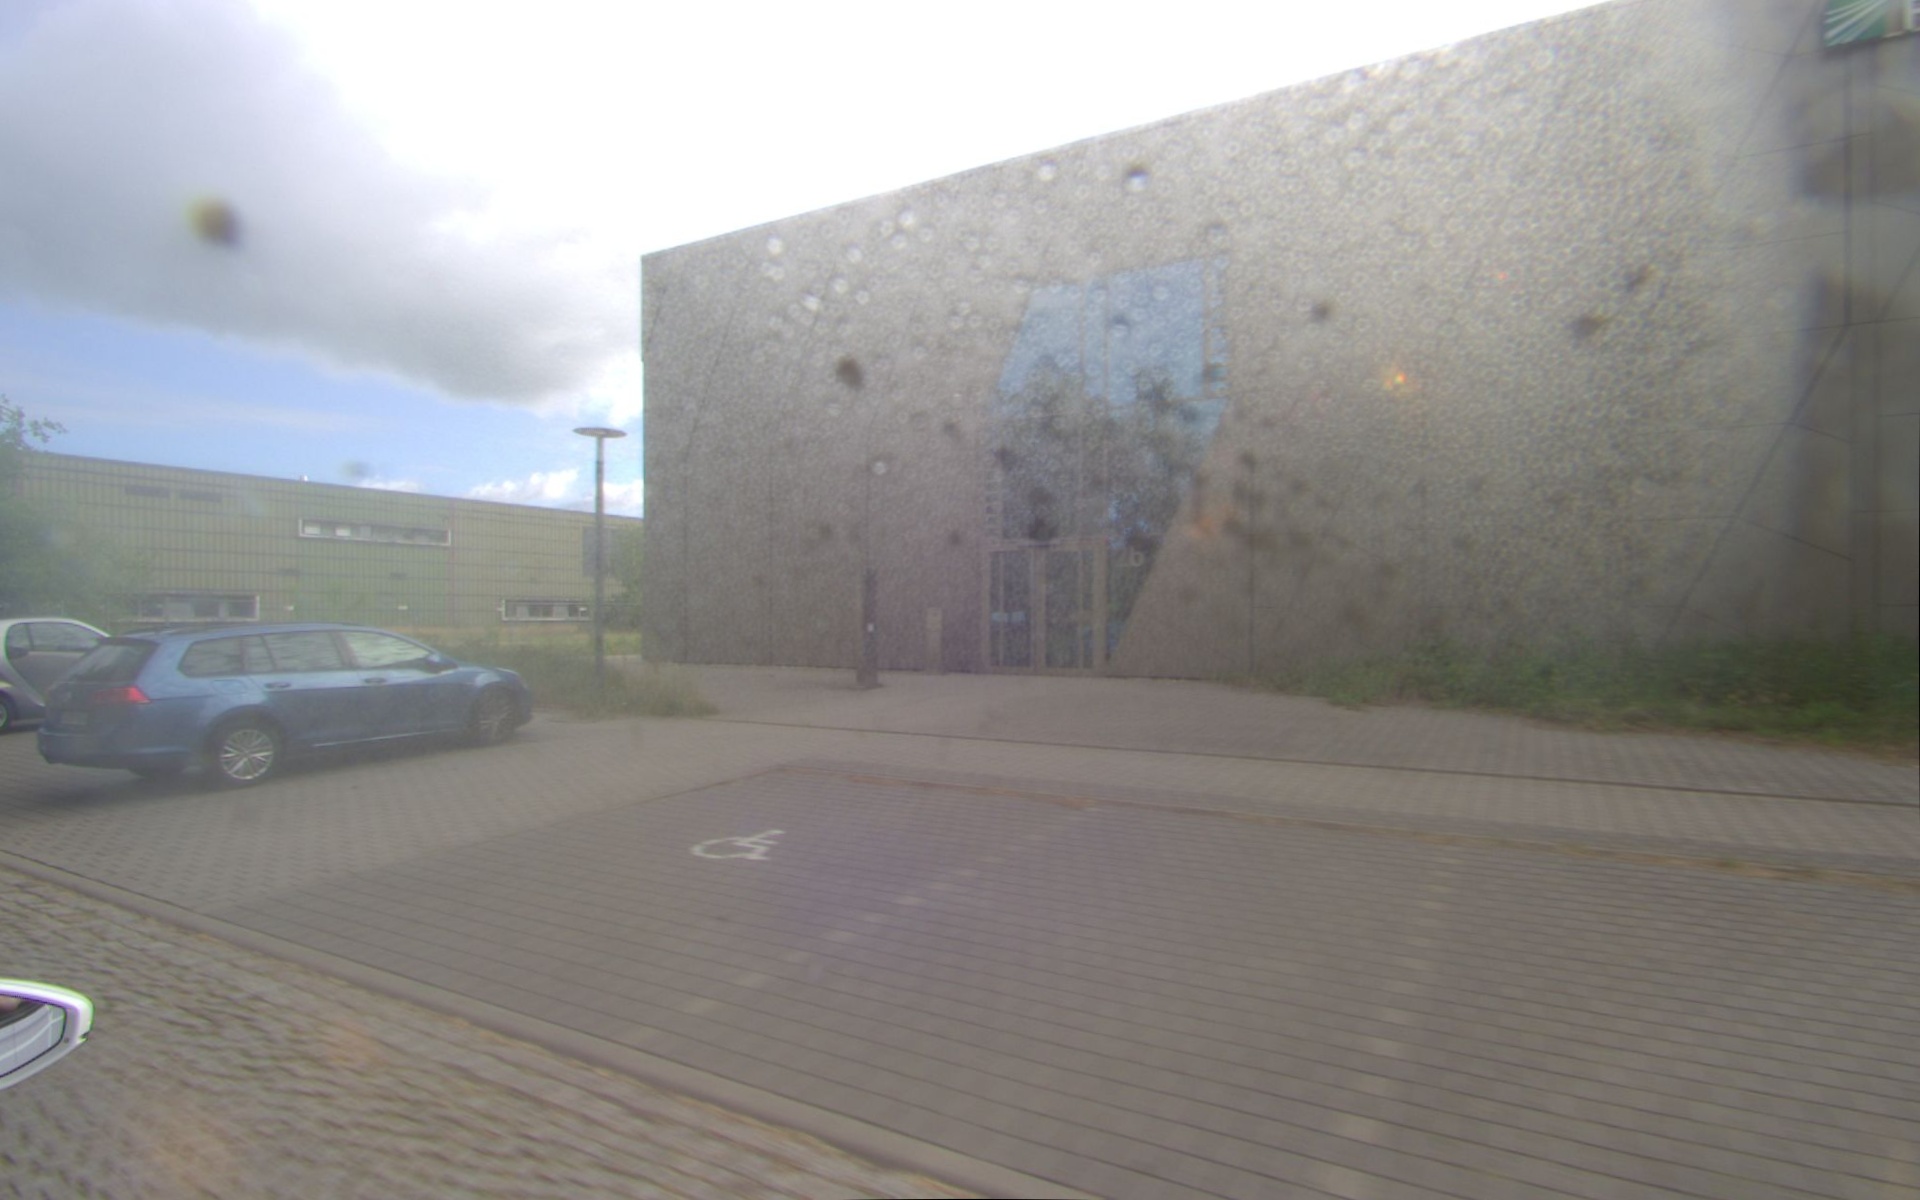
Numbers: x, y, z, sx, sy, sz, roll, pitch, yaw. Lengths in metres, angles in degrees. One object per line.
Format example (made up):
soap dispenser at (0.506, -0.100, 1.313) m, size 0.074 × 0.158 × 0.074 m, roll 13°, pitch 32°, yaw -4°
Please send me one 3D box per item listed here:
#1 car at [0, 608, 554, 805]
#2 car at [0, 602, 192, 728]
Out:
car at (-6.814, 0.883, 10.560) m, size 1.902 × 1.469 × 4.519 m, roll 0°, pitch 1°, yaw 28°
car at (-12.954, 0.867, 14.283) m, size 1.658 × 1.603 × 2.736 m, roll 0°, pitch 2°, yaw 30°
